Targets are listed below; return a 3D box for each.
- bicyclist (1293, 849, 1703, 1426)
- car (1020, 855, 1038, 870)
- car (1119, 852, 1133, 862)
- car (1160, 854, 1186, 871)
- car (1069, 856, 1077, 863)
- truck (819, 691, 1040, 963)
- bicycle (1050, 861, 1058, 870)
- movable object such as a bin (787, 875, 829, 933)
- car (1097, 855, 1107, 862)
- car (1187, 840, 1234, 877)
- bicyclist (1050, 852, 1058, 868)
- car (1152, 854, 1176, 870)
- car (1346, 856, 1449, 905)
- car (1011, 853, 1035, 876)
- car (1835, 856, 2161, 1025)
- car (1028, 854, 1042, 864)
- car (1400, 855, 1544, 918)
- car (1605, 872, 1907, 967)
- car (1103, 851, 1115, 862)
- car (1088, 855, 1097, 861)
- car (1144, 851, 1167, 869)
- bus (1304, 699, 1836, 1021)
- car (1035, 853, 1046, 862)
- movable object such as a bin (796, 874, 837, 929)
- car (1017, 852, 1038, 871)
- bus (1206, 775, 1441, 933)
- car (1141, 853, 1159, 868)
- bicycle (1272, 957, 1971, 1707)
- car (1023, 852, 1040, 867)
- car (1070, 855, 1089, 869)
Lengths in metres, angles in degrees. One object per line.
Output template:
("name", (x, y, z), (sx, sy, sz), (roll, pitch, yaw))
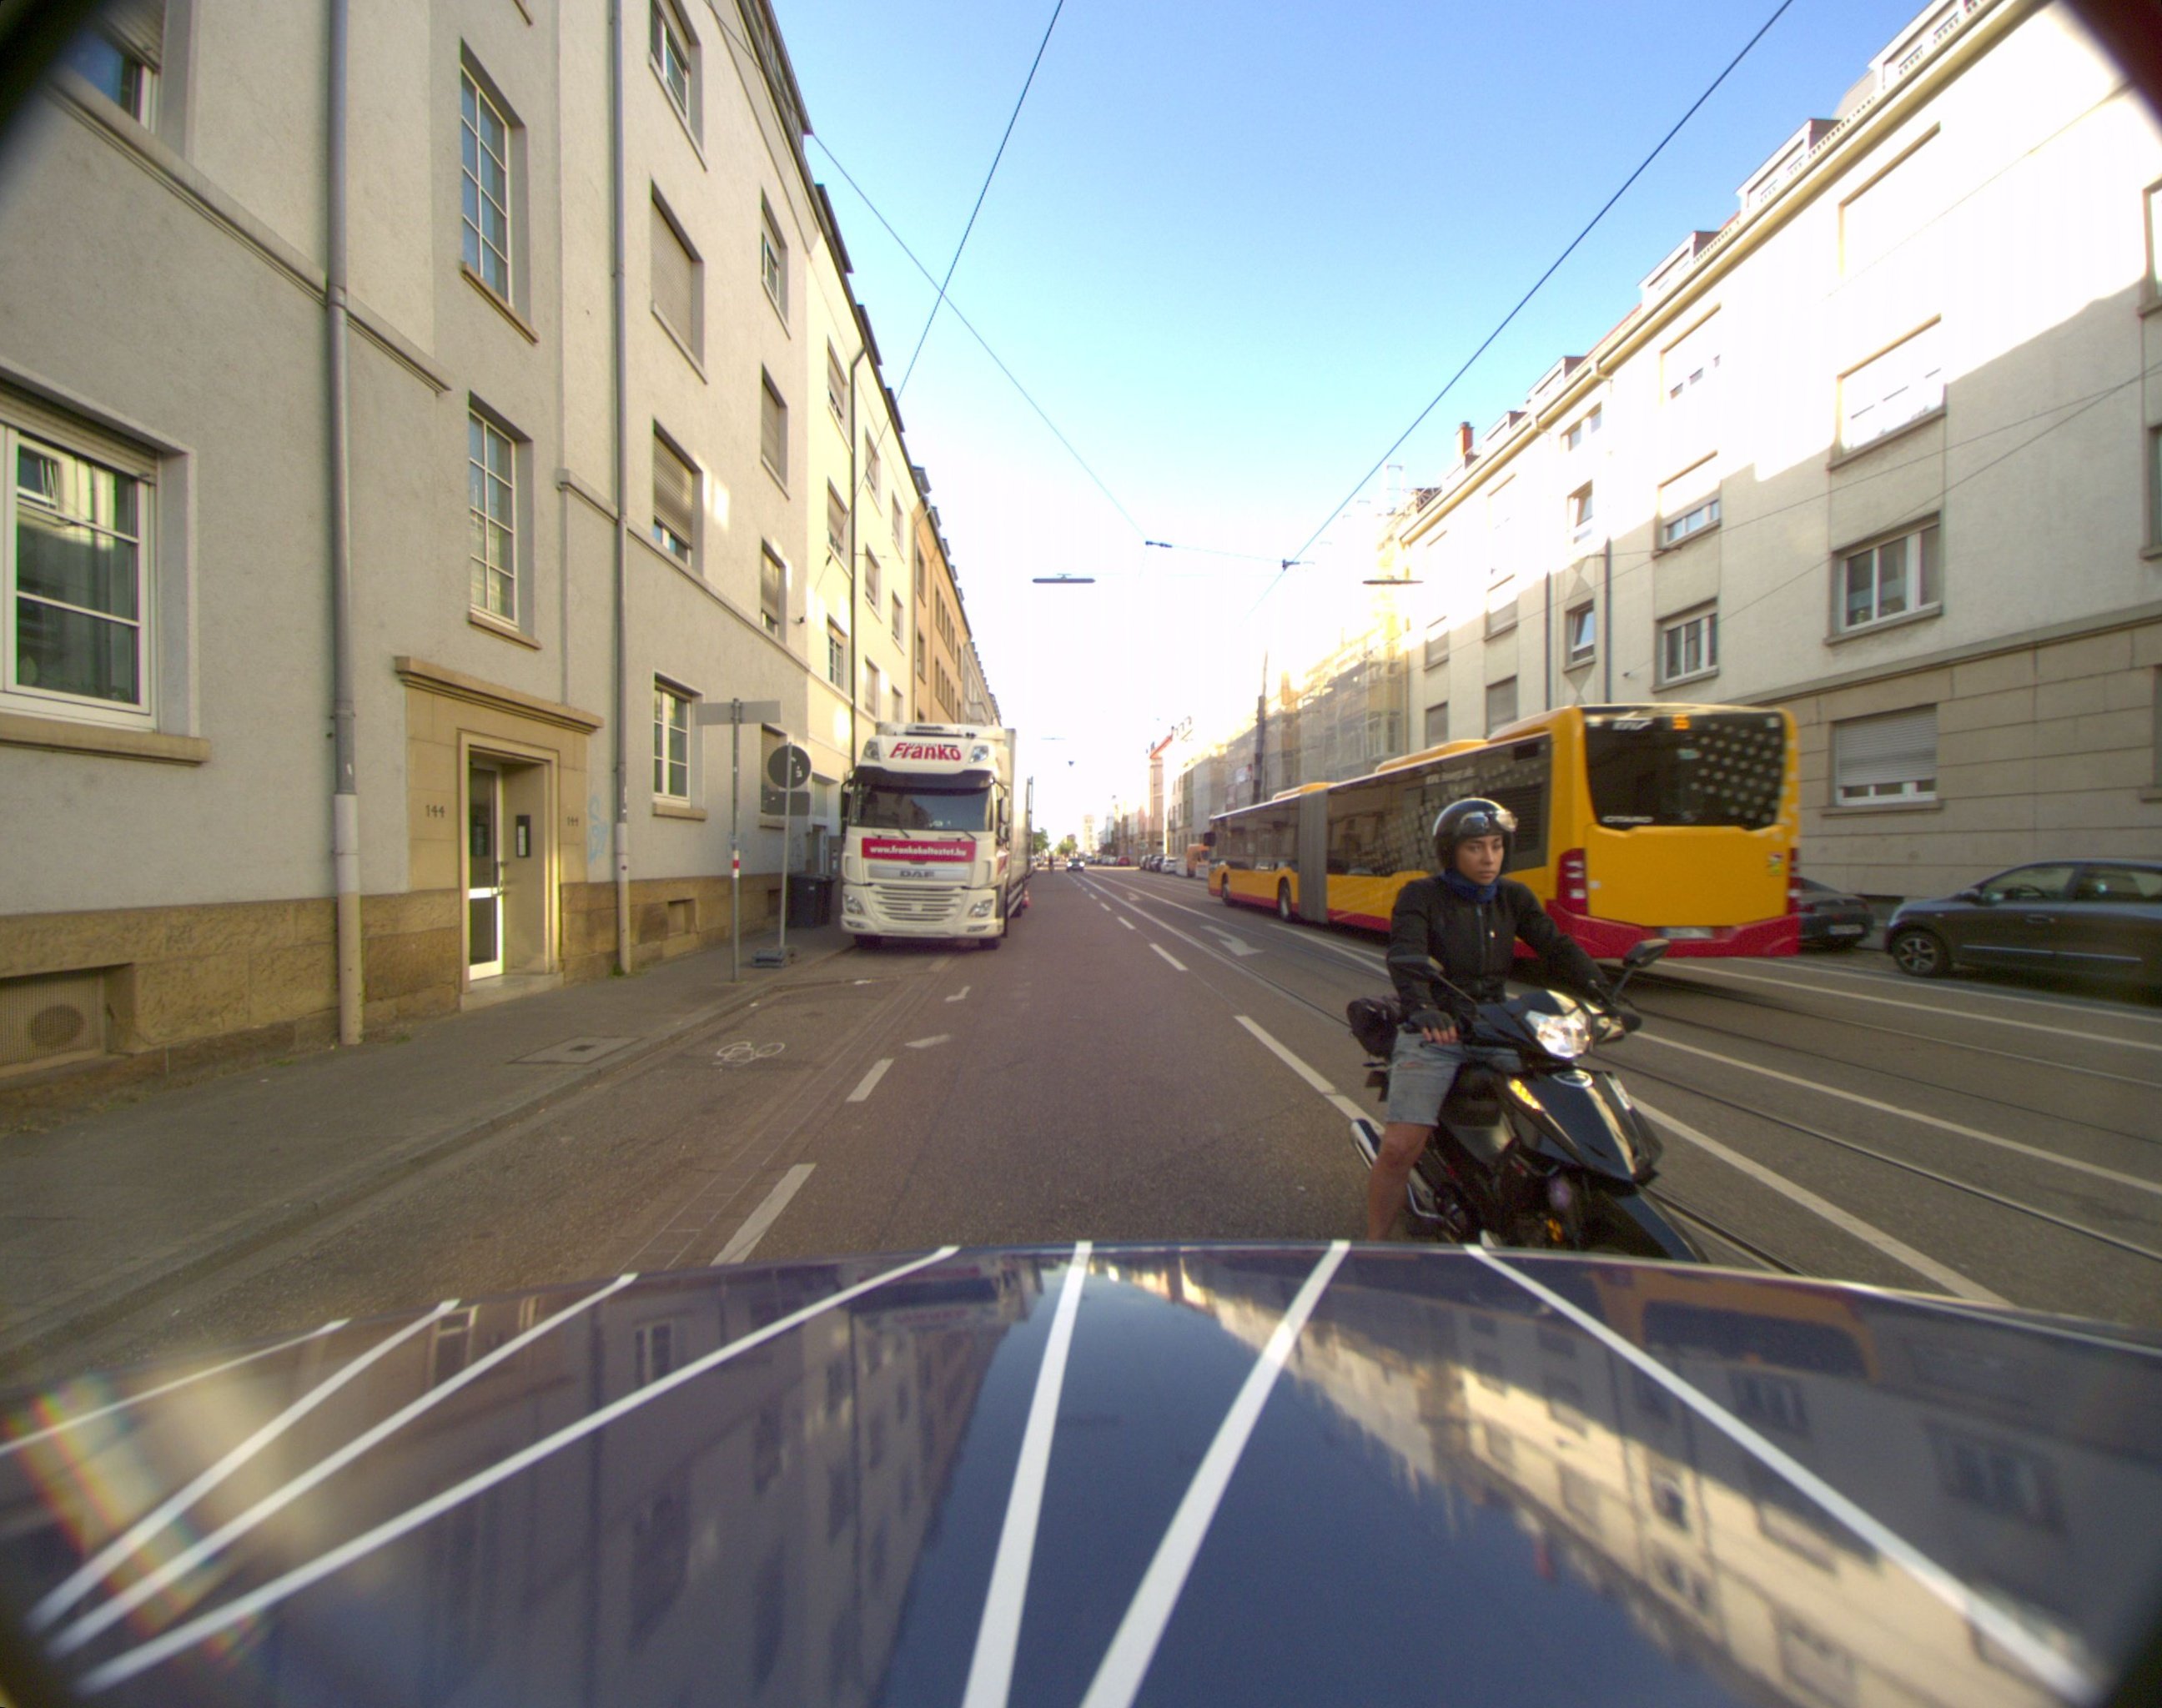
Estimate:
("bicyclist", (1.245, 0.760, 2.472), (0.844, 1.545, 0.849), (0, 1, -3))
("car", (-5.246, 0.808, 77.289), (1.703, 1.496, 3.862), (0, 0, -1))
("car", (6.985, 0.399, 118.766), (1.799, 1.494, 3.768), (-2, 0, -3))
("car", (8.581, 0.781, 71.138), (1.751, 1.502, 3.999), (1, 0, -2))
("car", (-2.112, 1.391, 195.517), (1.826, 1.559, 4.199), (-2, 0, -4))
("truck", (-2.575, -0.400, 17.243), (2.867, 4.049, 11.776), (0, 0, -1))
("bicycle", (-2.566, 1.095, 71.355), (0.744, 0.850, 1.885), (0, 0, -1))
("movable object such as a bin", (-5.395, 0.975, 15.039), (0.660, 1.098, 0.541), (0, 1, -5))
("car", (4.568, 0.948, 167.669), (1.799, 1.494, 3.768), (-2, 0, -3))
("car", (9.006, 0.315, 53.346), (2.125, 2.454, 5.999), (1, 0, -2))
("bicyclist", (-2.554, 0.579, 71.466), (0.744, 1.481, 0.816), (0, 1, -1))
("car", (8.362, 0.777, 77.197), (1.702, 1.569, 4.221), (-2, 0, -3))
("car", (10.730, 0.835, 26.094), (1.704, 1.407, 3.998), (-3, 1, -2))
("car", (-4.510, 0.798, 59.446), (1.713, 1.683, 4.588), (1, 0, -3))
("car", (11.428, 0.866, 8.615), (1.704, 1.560, 3.999), (-2, 1, -2))
("car", (-6.795, 0.704, 112.991), (1.999, 1.412, 3.726), (1, 0, -2))
("car", (10.832, 0.829, 21.463), (1.704, 1.558, 4.405), (0, 0, -2))
("car", (11.220, 1.000, 13.037), (1.704, 1.209, 3.784), (-2, 1, -3))
("car", (5.554, 0.500, 149.180), (1.999, 2.002, 3.999), (1, 0, -3))
("car", (2.862, 1.082, 191.738), (1.799, 1.494, 3.768), (-2, 0, -3))
("car", (8.134, 0.614, 83.281), (1.799, 1.836, 3.768), (-2, 0, -3))
("bus", (5.952, 0.052, 11.278), (2.745, 3.143, 7.575), (0, 0, -3))
("car", (-7.603, 0.640, 142.967), (1.999, 1.630, 3.999), (1, 0, -2))
("movable object such as a bin", (-5.430, 0.970, 15.630), (0.660, 1.098, 0.541), (0, 1, -5))
("car", (-5.012, 0.684, 71.626), (1.703, 1.688, 4.187), (1, 0, 0))
("bus", (5.653, -0.003, 20.183), (2.729, 3.140, 10.193), (0, 0, -2))
("car", (7.963, 0.731, 88.151), (1.798, 1.601, 3.769), (0, 0, 1))
("bicycle", (1.273, 1.050, 2.418), (0.740, 1.170, 1.973), (0, 0, -3))
("car", (-5.310, 0.623, 82.407), (1.703, 1.581, 3.960), (0, 0, -2))
("car", (-0.111, 0.809, 78.763), (1.859, 1.369, 4.000), (0, 0, 1))
